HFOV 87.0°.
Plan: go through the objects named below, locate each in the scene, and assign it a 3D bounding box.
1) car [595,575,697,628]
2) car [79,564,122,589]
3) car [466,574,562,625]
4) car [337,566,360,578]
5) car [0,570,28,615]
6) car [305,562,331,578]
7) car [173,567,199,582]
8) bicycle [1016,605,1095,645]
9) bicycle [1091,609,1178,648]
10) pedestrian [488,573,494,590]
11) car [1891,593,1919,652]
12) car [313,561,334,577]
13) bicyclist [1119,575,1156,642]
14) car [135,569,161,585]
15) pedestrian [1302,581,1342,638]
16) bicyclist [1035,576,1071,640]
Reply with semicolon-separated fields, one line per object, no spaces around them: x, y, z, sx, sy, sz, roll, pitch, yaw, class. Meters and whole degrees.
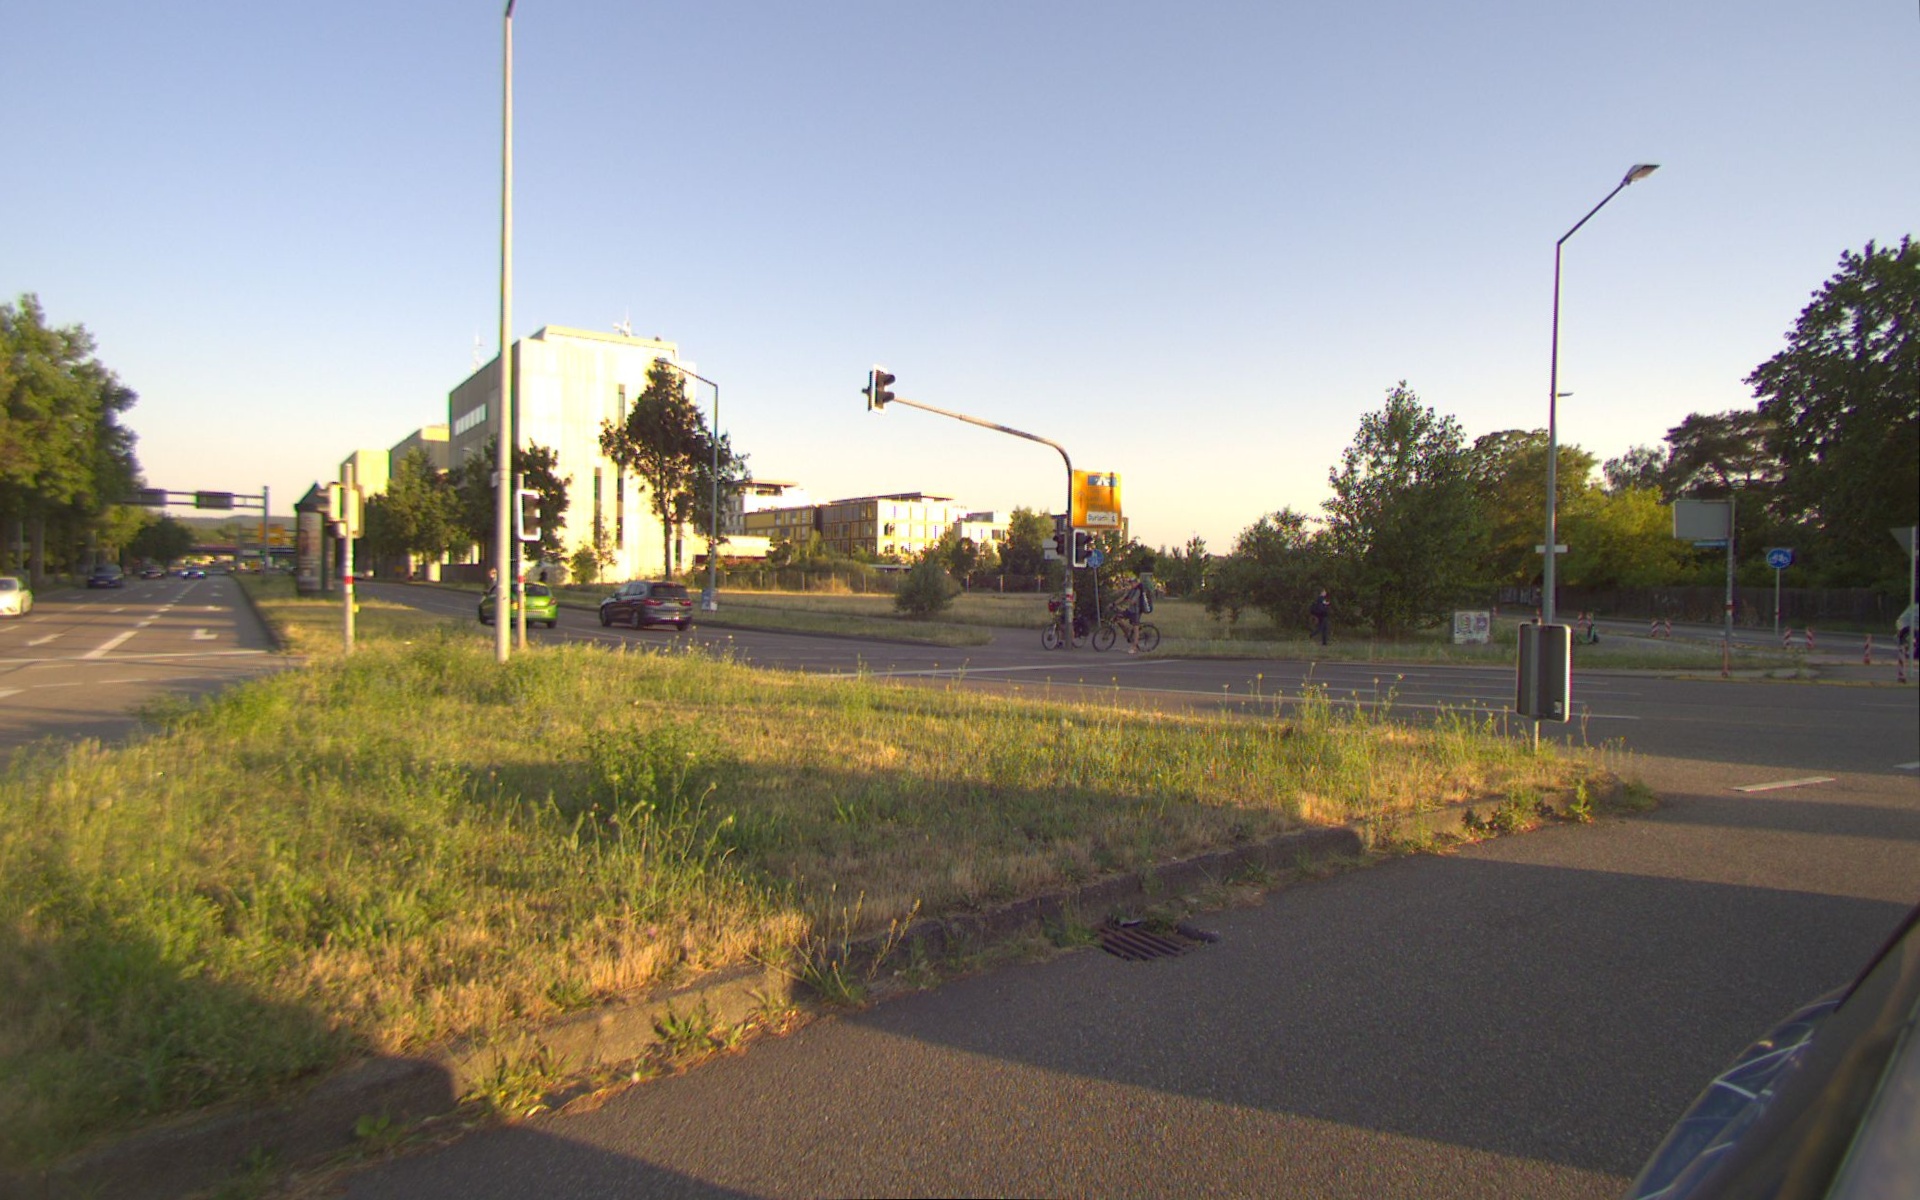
-10.481;0.011;33.635;1.703;1.597;4.325;2;0;-39;car
-58.295;-1.600;68.706;1.880;1.603;4.180;0;1;-36;car
-14.124;-0.042;31.924;1.659;1.438;3.995;5;-2;-40;car
-76.246;-3.526;126.212;1.963;1.445;4.196;0;1;-37;car
-33.391;-0.280;34.794;1.835;1.472;3.966;0;1;-41;car
-66.724;-3.137;105.148;1.963;1.649;3.999;0;1;-36;car
-78.517;-2.596;102.738;1.963;1.524;4.771;0;1;-36;car
2.599;0.662;27.349;2.065;0.975;0.711;-2;2;-27;bicycle
4.526;0.735;26.244;2.100;0.975;0.711;1;1;-15;bicycle
-44.624;-1.767;96.283;0.492;1.531;0.530;0;1;-35;pedestrian
27.329;0.657;26.838;1.970;1.617;4.297;1;1;13;car
-82.418;-4.002;131.026;2.029;1.971;4.962;0;1;-34;car
4.598;0.212;26.266;0.674;1.711;0.727;1;1;-13;bicyclist
-81.541;-2.293;101.649;1.963;1.524;4.618;0;1;-38;car
10.394;0.257;29.097;0.978;1.610;0.922;1;1;16;pedestrian
2.513;0.211;27.331;0.675;1.711;0.726;0;1;-29;bicyclist
